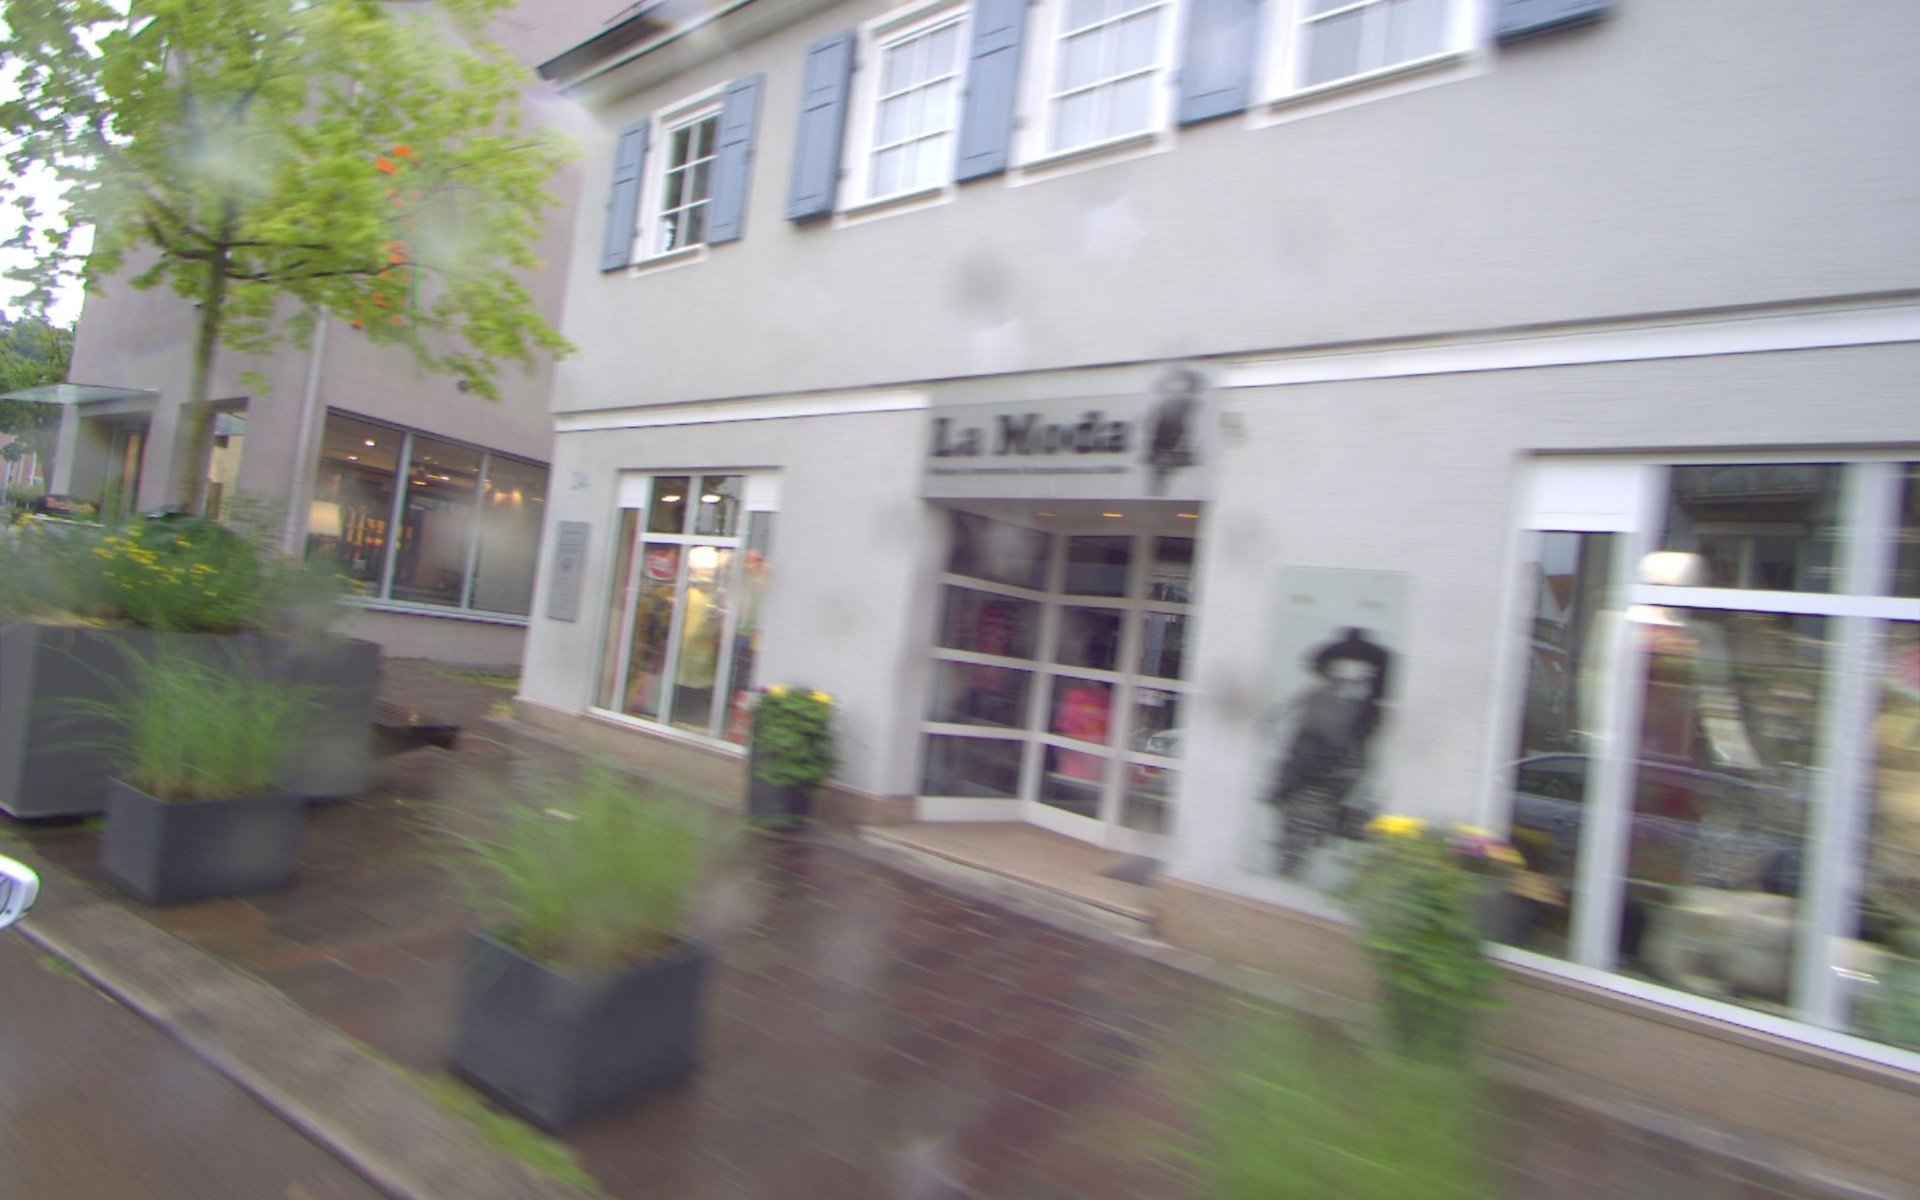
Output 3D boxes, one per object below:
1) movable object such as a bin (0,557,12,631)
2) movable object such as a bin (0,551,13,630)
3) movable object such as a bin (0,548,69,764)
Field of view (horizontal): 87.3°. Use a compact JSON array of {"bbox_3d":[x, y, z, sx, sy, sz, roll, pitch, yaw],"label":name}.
[{"bbox_3d":[-6.039,0.248,5.749,0.569,1.116,0.634,6,-3,28],"label":"movable object such as a bin"},{"bbox_3d":[-6.522,0.186,6.252,0.570,1.115,0.679,5,-4,32],"label":"movable object such as a bin"},{"bbox_3d":[-5.487,0.275,5.495,0.569,1.163,0.634,6,-3,28],"label":"movable object such as a bin"}]
